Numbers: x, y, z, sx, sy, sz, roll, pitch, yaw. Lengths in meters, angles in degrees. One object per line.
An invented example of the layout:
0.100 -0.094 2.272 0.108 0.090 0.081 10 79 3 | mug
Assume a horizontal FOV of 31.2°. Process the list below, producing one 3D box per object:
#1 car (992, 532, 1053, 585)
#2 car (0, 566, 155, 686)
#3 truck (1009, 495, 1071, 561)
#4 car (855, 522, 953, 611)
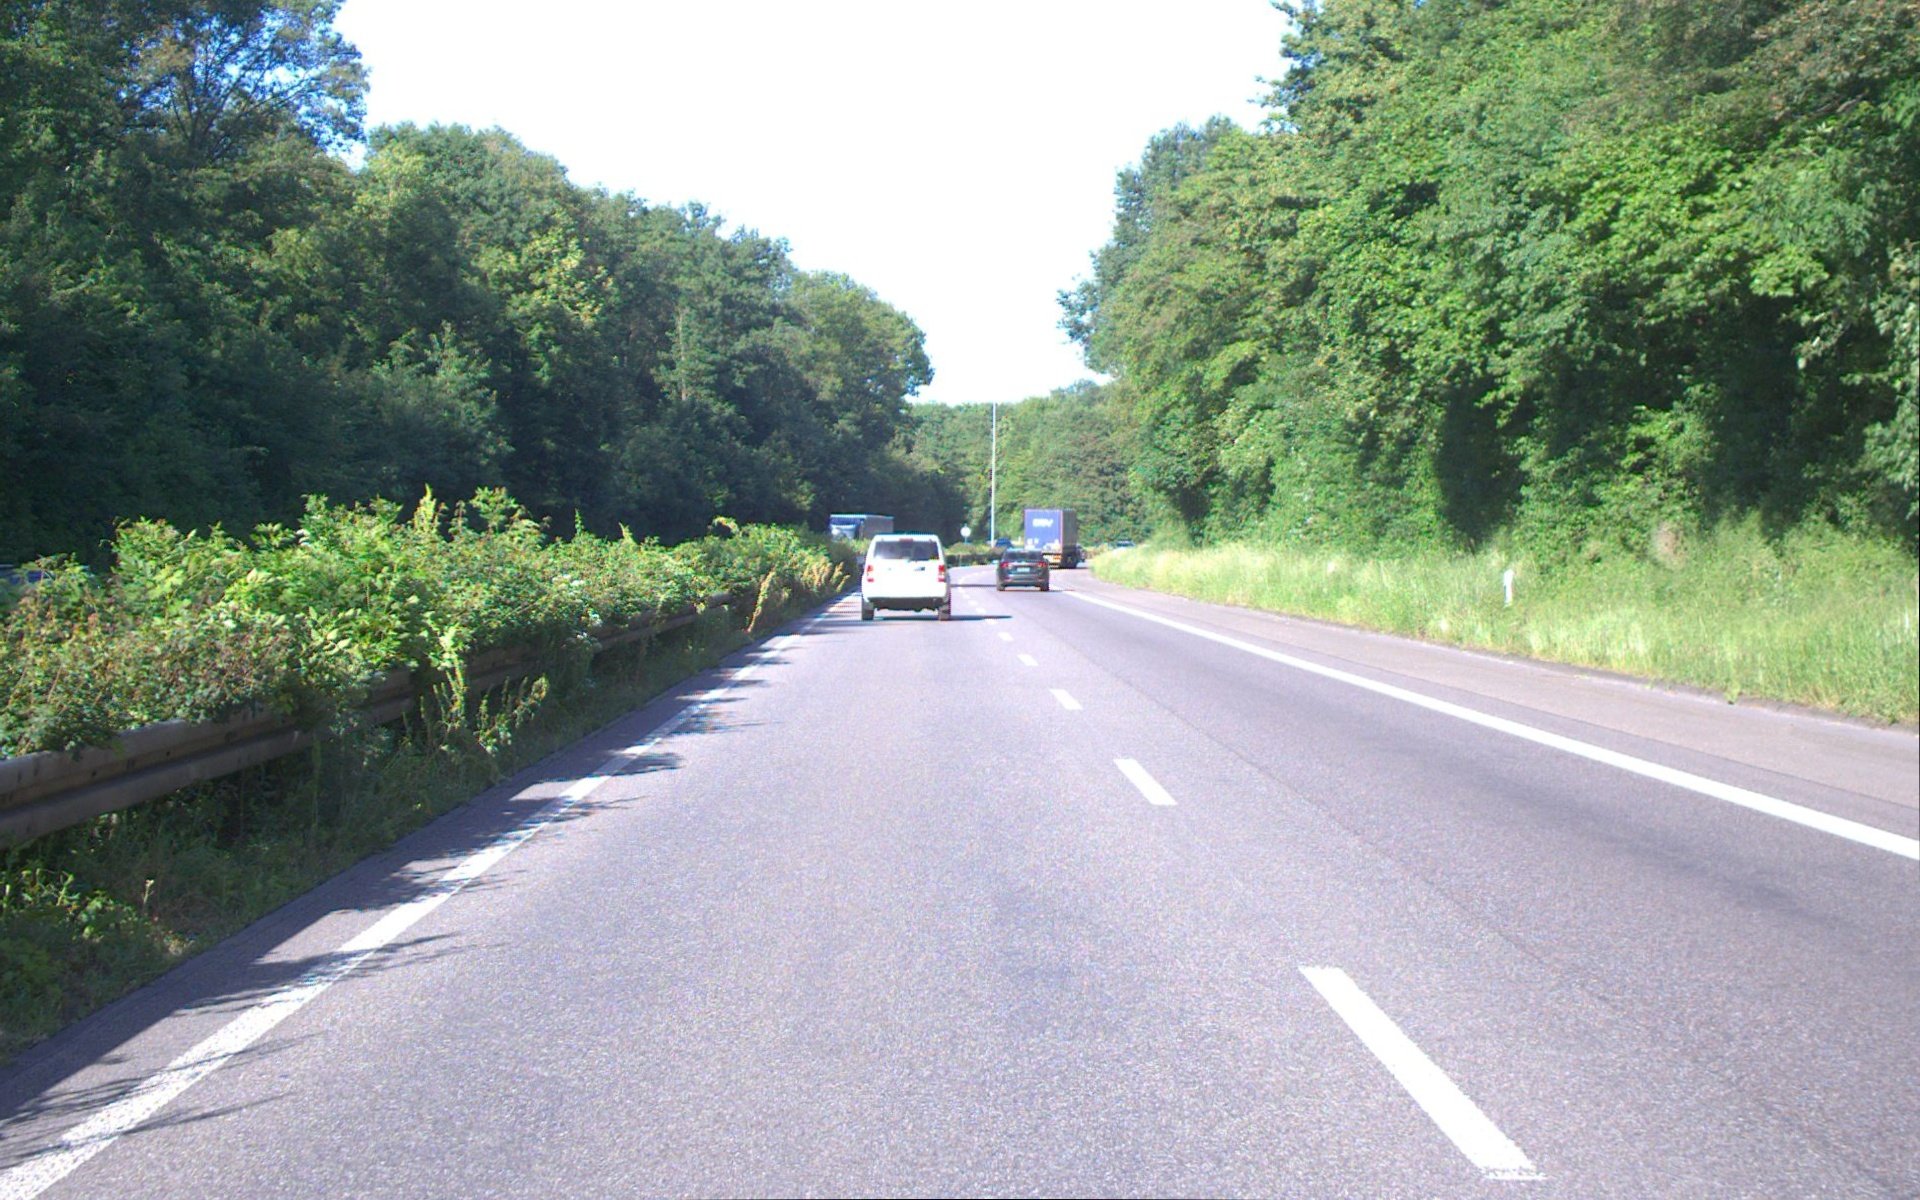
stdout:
2.151 -1.451 120.323 1.951 1.776 4.588 1 1 -1 | car
-12.488 0.324 47.432 1.847 1.569 4.000 1 1 -1 | car
5.453 -4.848 233.132 3.735 4.328 9.303 1 1 4 | truck
-1.176 -0.708 71.918 1.951 1.776 4.588 1 1 -1 | car
